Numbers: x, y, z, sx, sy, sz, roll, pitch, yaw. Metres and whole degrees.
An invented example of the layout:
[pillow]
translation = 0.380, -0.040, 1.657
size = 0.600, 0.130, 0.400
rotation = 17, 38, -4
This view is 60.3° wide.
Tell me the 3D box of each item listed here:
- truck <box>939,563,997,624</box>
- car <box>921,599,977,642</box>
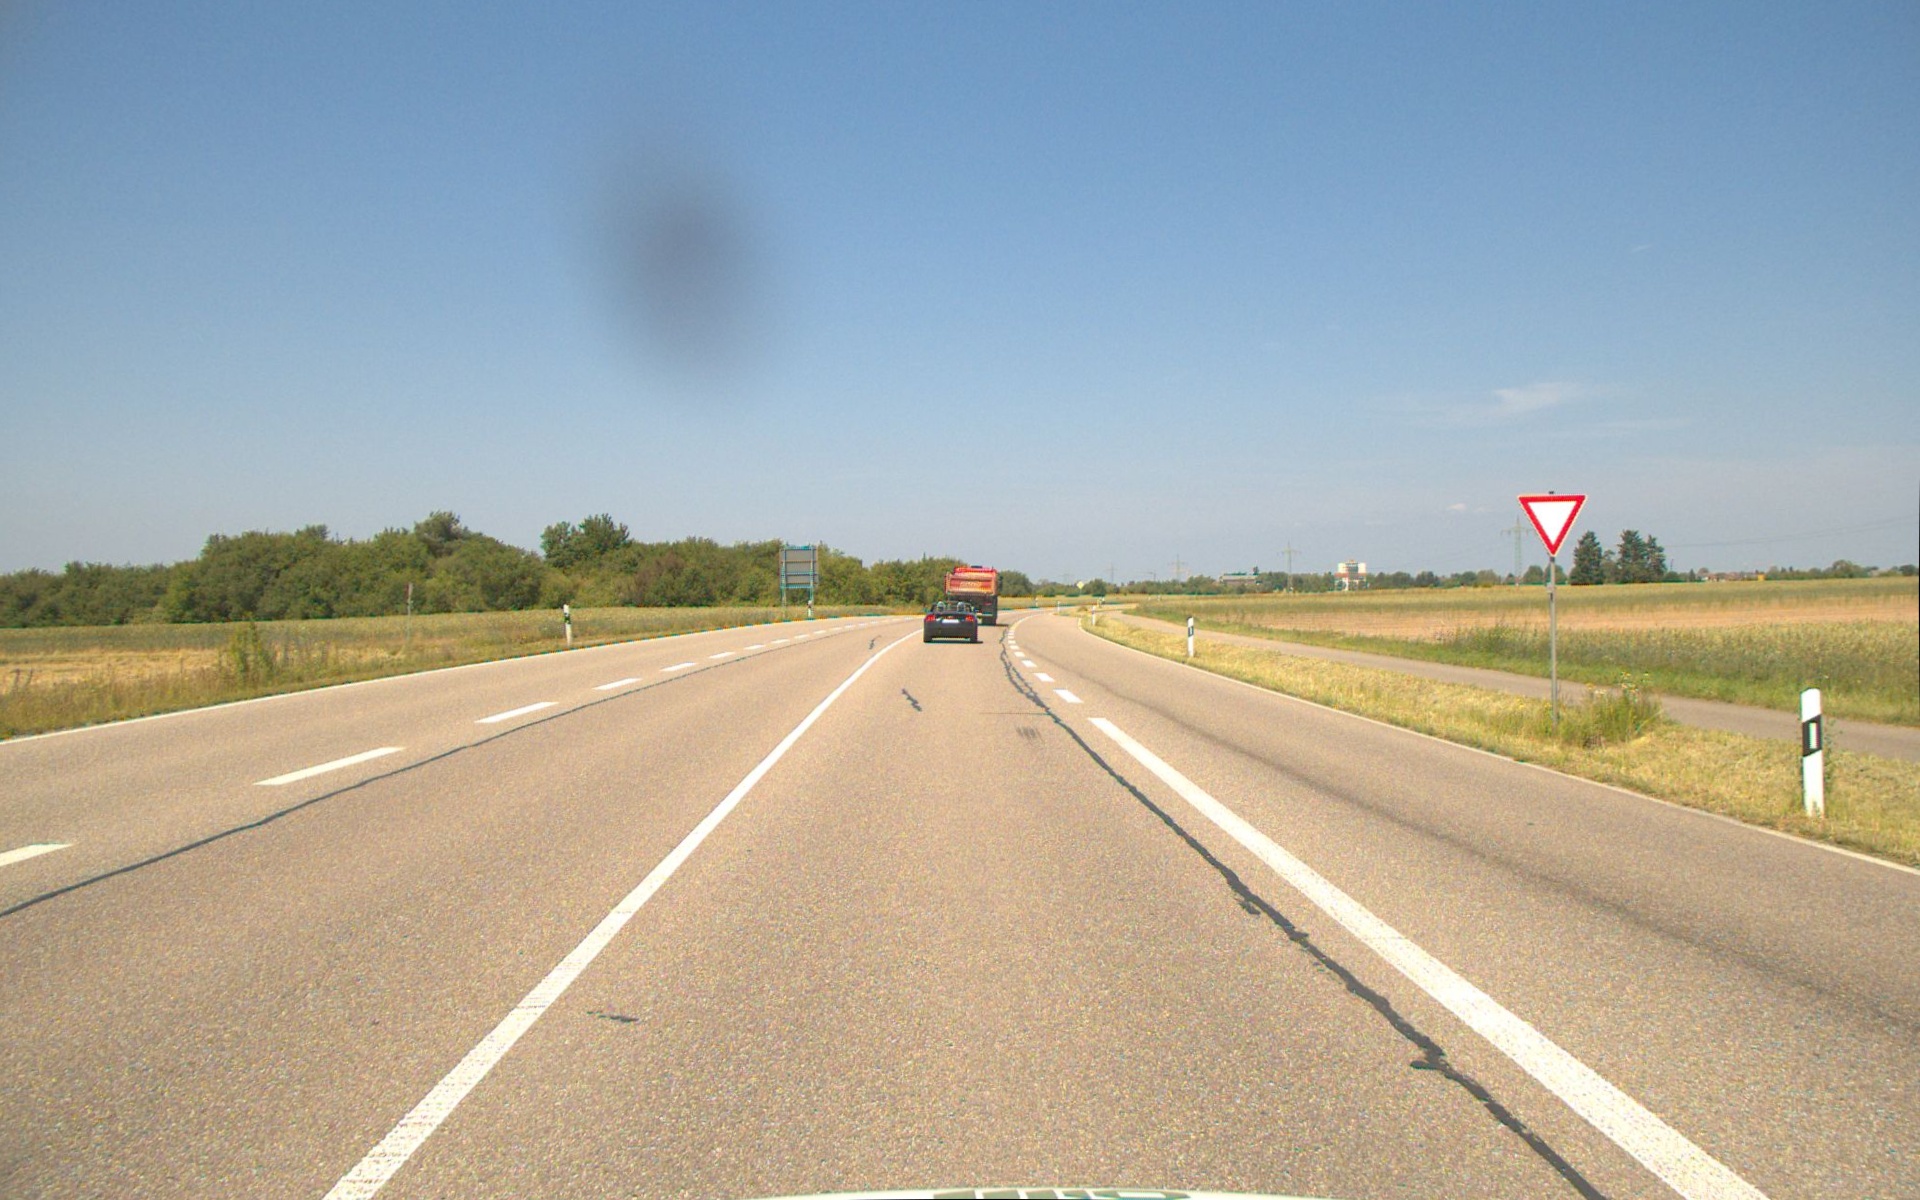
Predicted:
[truck]
translation = 0.488, -0.318, 87.956
size = 2.877, 3.143, 7.198
rotation = 0, 0, 2
[car]
translation = -0.334, 0.642, 53.274
size = 1.708, 1.302, 4.000
rotation = 1, 0, 0
